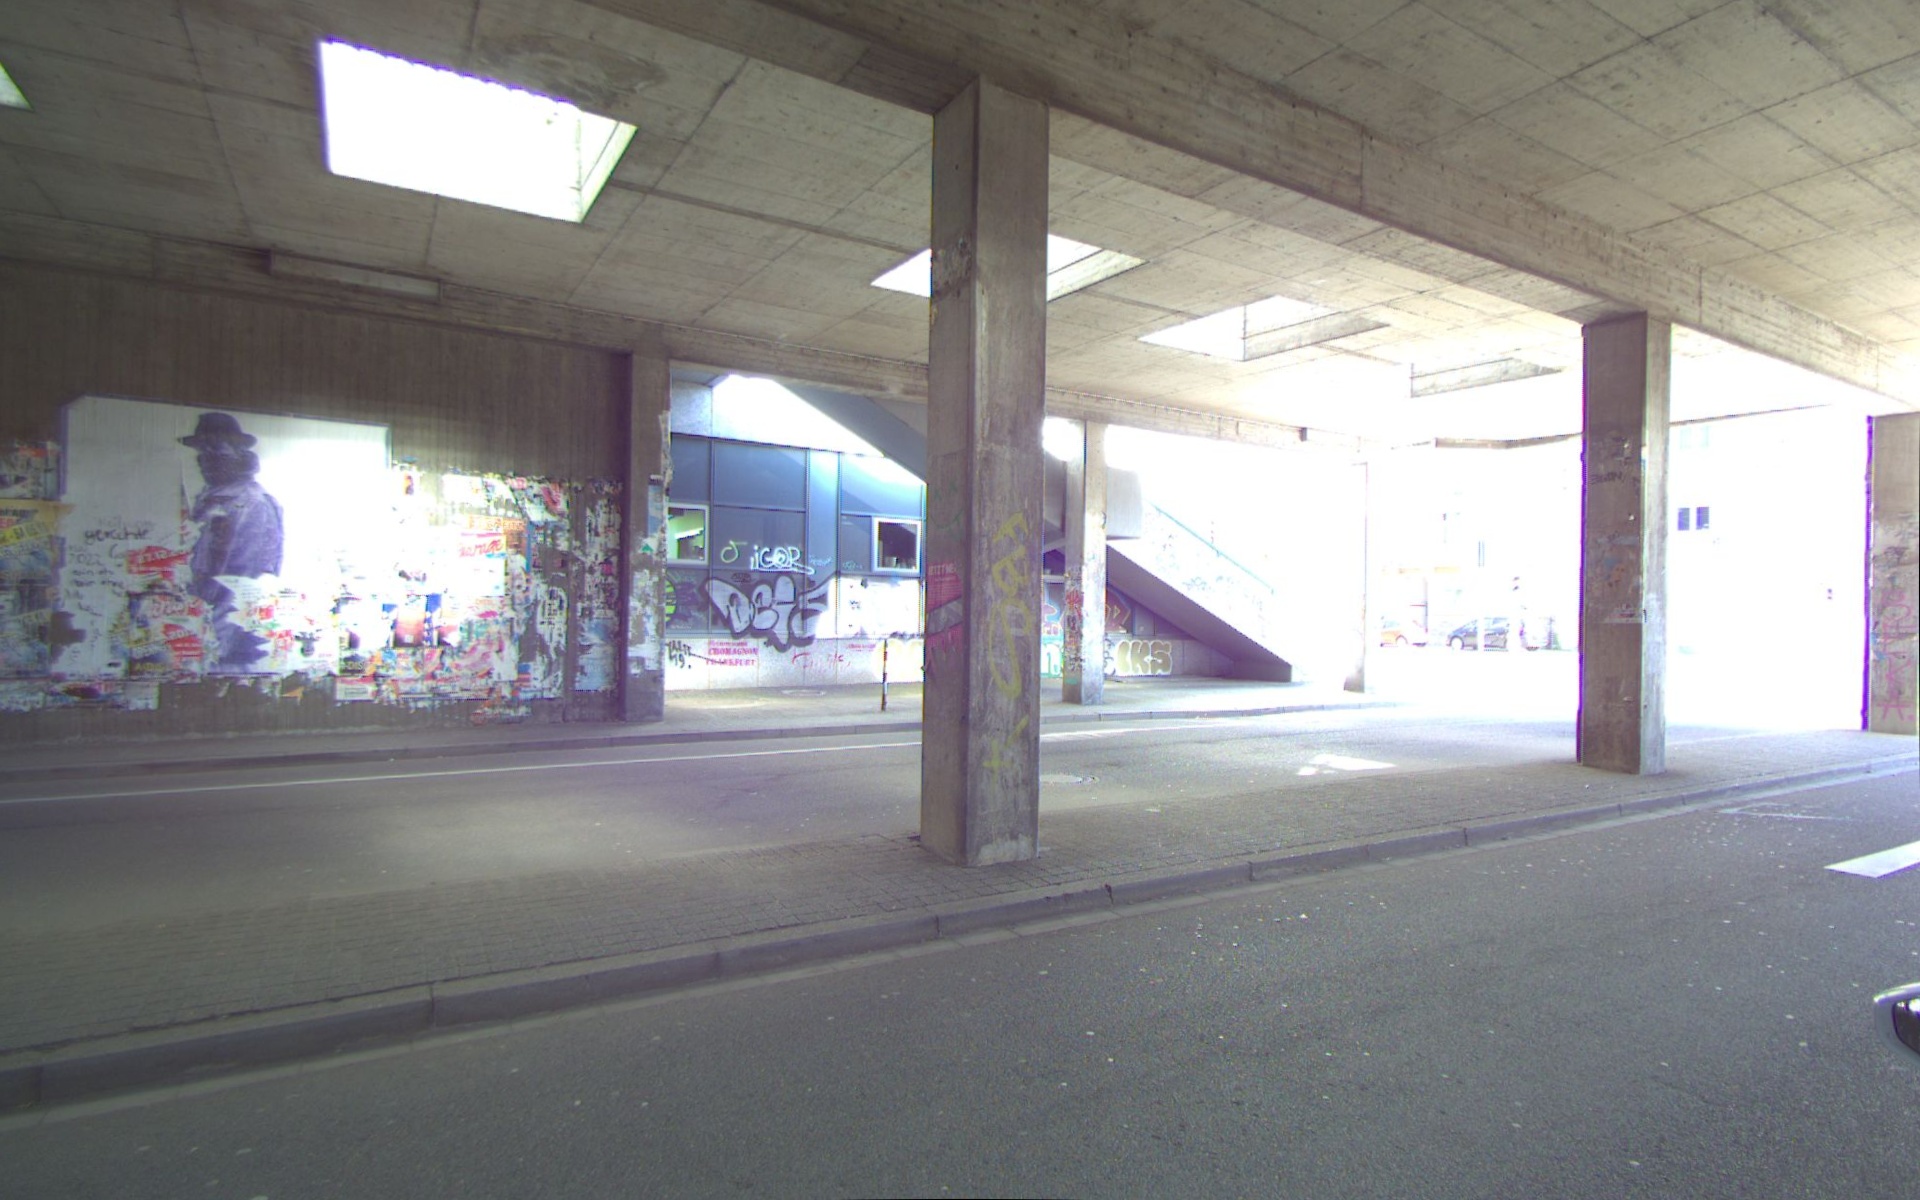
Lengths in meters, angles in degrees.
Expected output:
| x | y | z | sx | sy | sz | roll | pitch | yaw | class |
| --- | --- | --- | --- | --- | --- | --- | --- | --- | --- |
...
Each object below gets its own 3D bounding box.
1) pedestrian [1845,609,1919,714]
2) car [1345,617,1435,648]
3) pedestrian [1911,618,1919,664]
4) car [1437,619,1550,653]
| x | y | z | sx | sy | sz | roll | pitch | yaw | class |
| --- | --- | --- | --- | --- | --- | --- | --- | --- | --- |
| 16.418 | 1.066 | 17.748 | 0.784 | 1.785 | 0.925 | 2 | 0 | -28 | pedestrian |
| 22.493 | 1.688 | 52.713 | 1.905 | 1.428 | 3.965 | 2 | 0 | -32 | car |
| 35.686 | 1.523 | 37.036 | 0.732 | 1.659 | 0.669 | 2 | 0 | -30 | pedestrian |
| 25.302 | 1.690 | 47.797 | 1.905 | 1.428 | 4.382 | 2 | 0 | -32 | car |
